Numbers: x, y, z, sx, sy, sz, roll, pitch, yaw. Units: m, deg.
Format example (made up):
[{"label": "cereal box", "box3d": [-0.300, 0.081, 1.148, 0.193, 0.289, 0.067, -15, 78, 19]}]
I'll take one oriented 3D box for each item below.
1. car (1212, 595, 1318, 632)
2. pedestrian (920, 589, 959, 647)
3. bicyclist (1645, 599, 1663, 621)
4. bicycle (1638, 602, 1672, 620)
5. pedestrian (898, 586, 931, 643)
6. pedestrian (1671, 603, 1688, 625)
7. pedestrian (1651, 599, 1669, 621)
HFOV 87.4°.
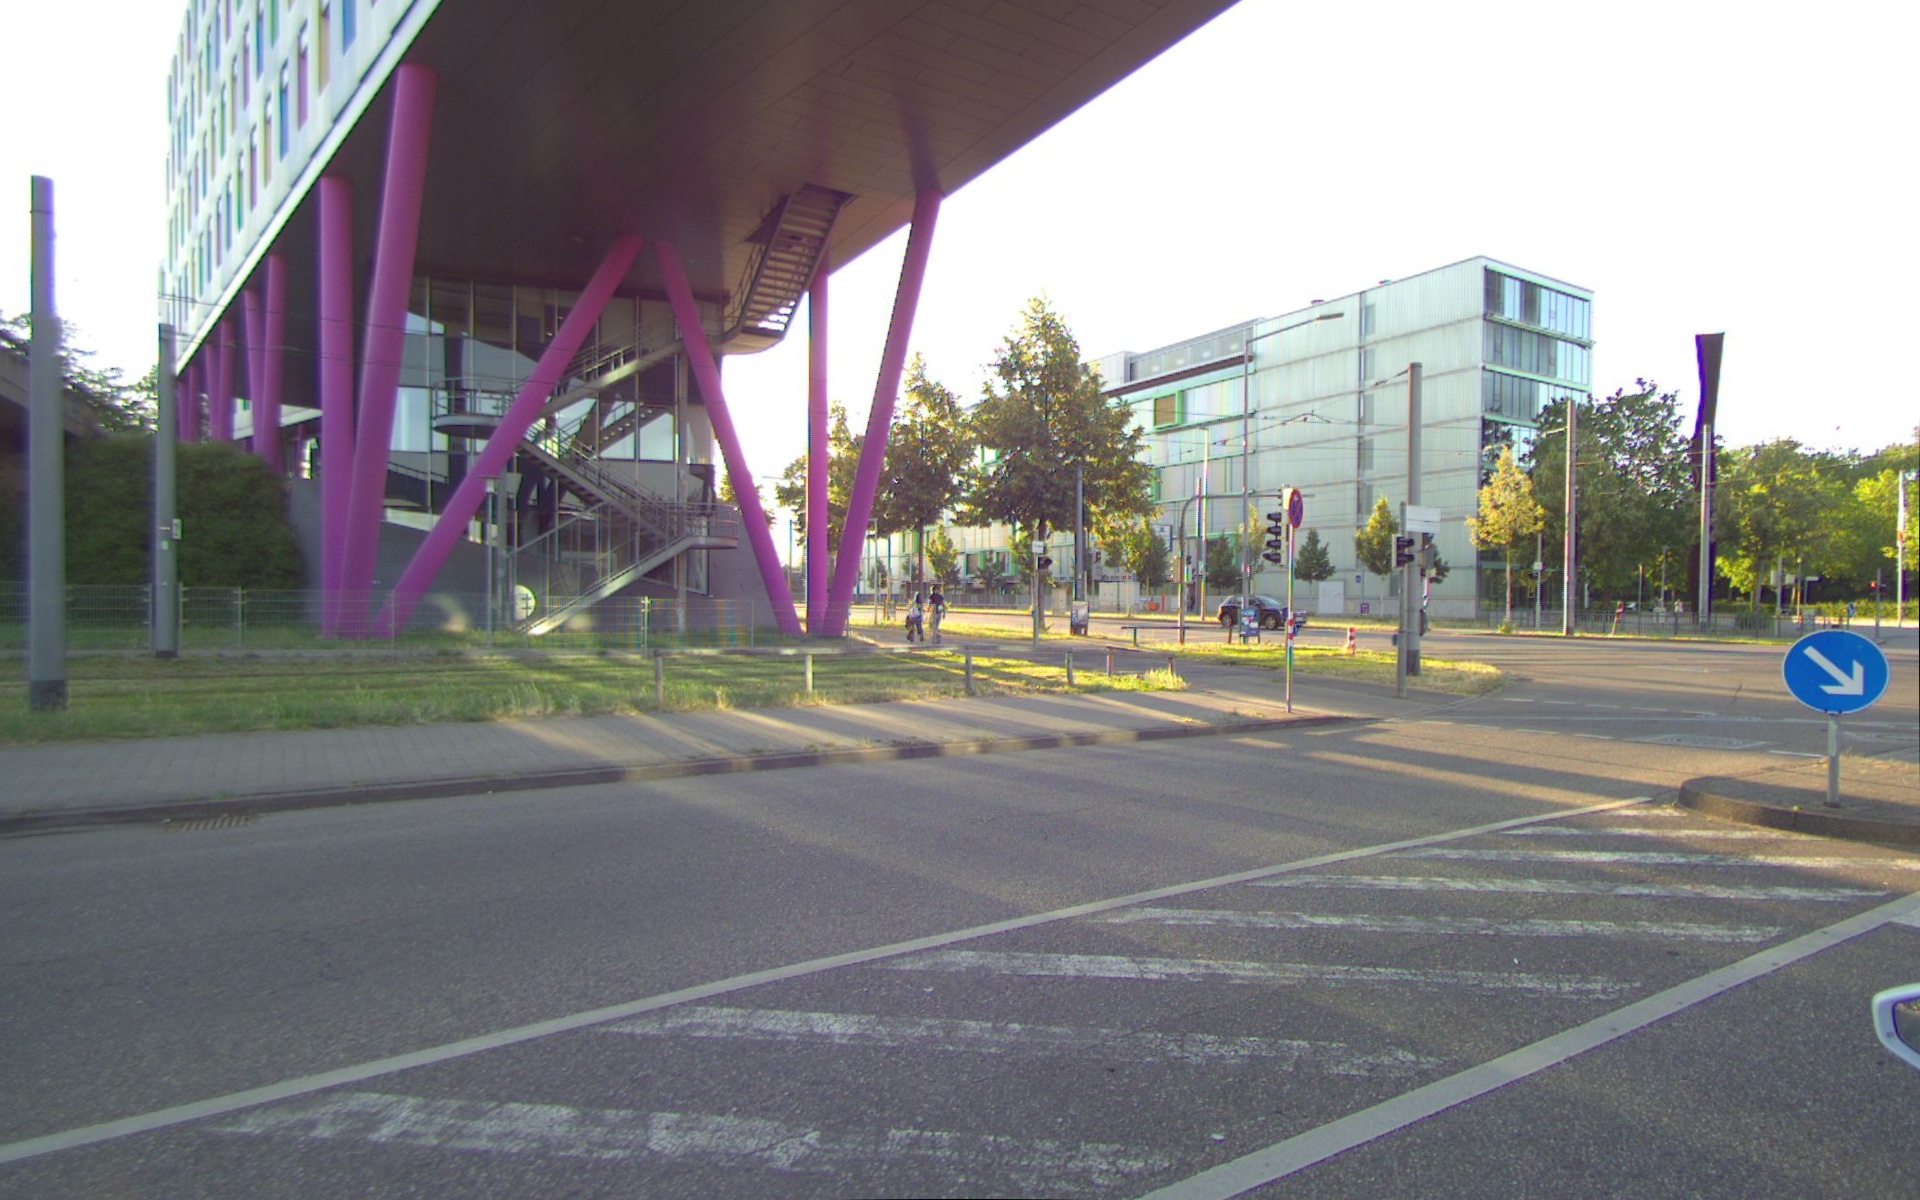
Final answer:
[{"label": "car", "box3d": [14.083, 0.595, 46.635, 1.968, 1.577, 4.448, 1, 0, -34]}, {"label": "pedestrian", "box3d": [-0.635, 0.569, 31.233, 0.921, 1.747, 0.877, 1, -2, -27]}, {"label": "bicyclist", "box3d": [54.373, 0.765, 78.727, 0.738, 1.732, 0.920, 1, 0, 0]}, {"label": "bicycle", "box3d": [54.425, 0.828, 78.715, 0.718, 1.359, 2.690, 1, 0, -2]}, {"label": "pedestrian", "box3d": [-1.412, 0.456, 30.993, 0.753, 1.727, 0.882, 0, -2, -25]}, {"label": "pedestrian", "box3d": [59.647, 1.130, 83.265, 0.813, 1.767, 0.863, 1, 1, 3]}, {"label": "pedestrian", "box3d": [58.001, 0.827, 83.254, 0.815, 1.767, 0.861, 1, 1, -10]}]
